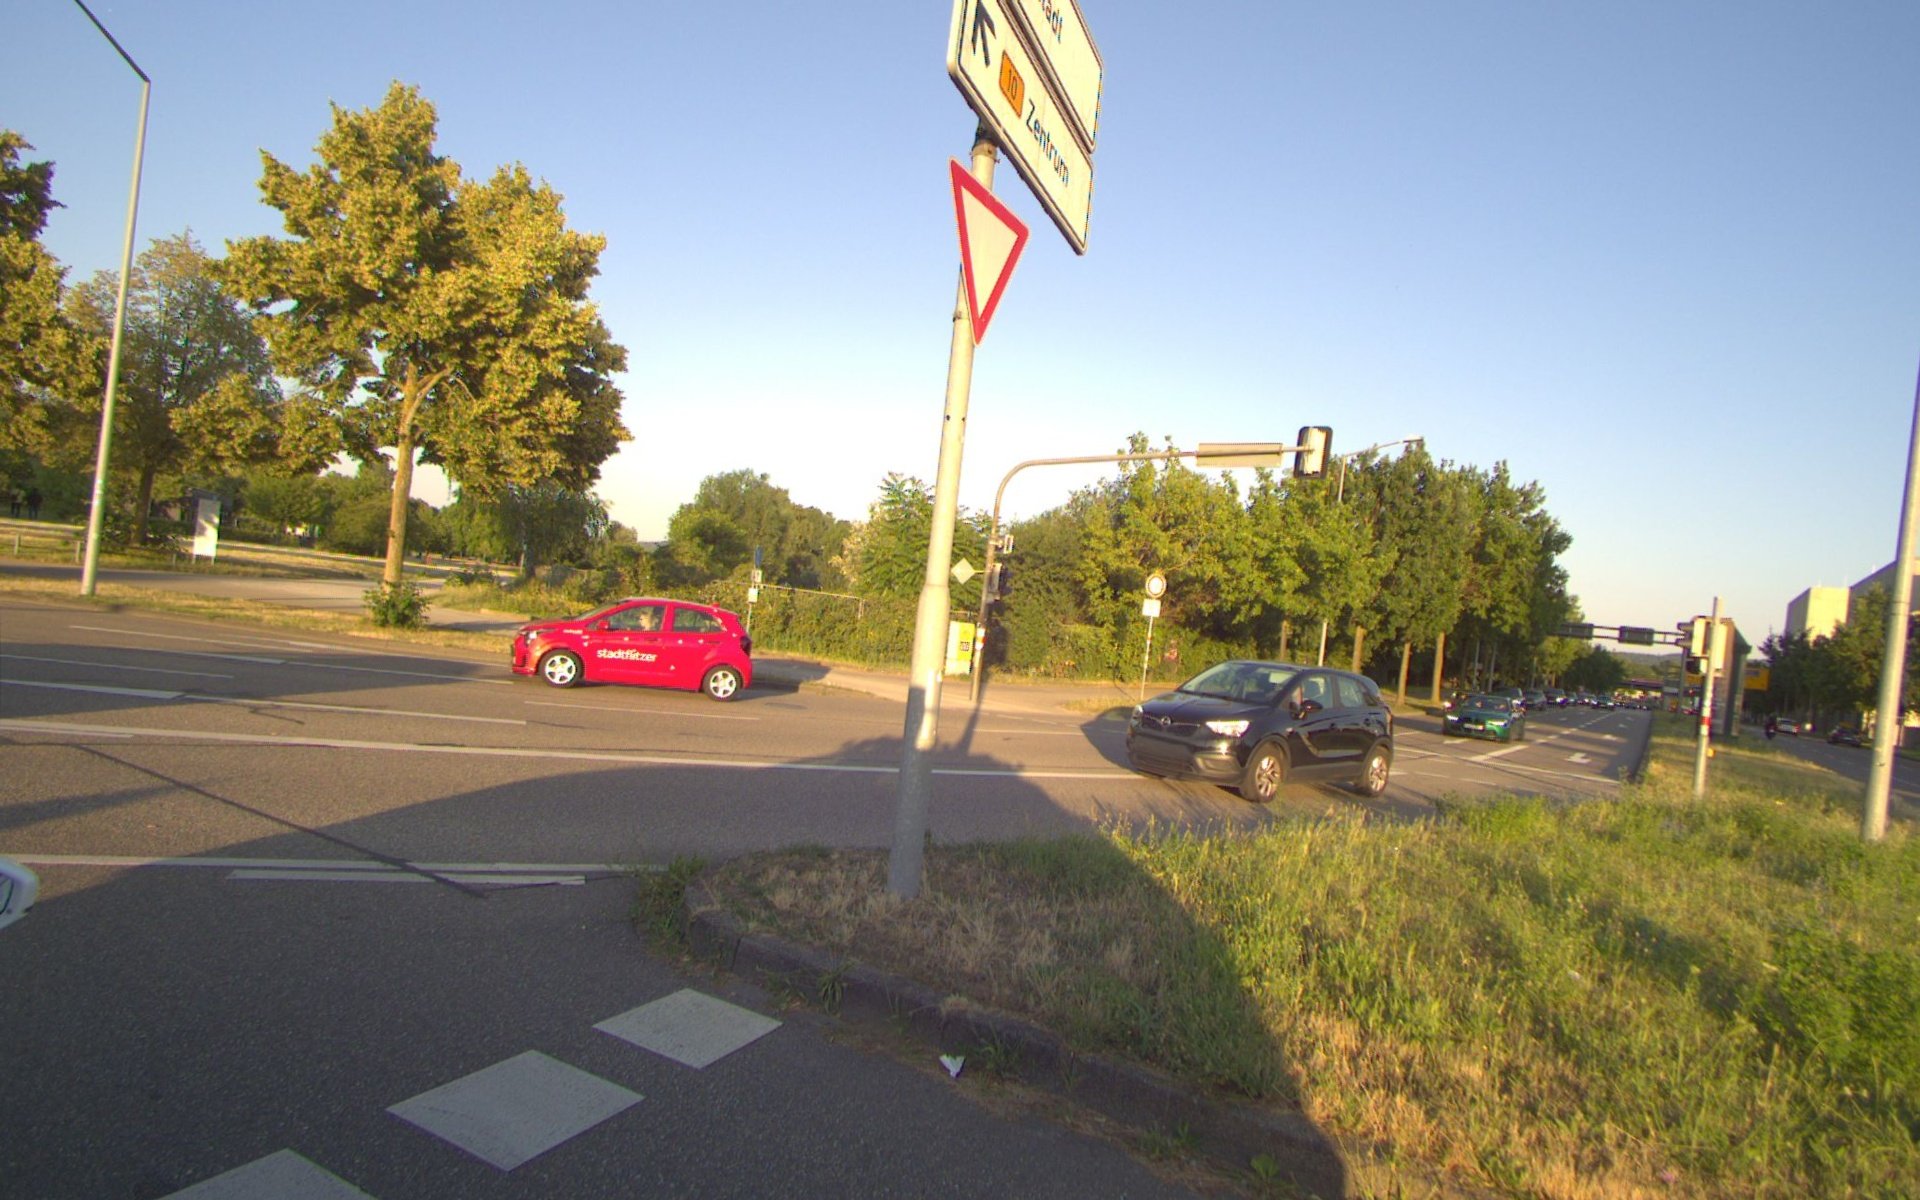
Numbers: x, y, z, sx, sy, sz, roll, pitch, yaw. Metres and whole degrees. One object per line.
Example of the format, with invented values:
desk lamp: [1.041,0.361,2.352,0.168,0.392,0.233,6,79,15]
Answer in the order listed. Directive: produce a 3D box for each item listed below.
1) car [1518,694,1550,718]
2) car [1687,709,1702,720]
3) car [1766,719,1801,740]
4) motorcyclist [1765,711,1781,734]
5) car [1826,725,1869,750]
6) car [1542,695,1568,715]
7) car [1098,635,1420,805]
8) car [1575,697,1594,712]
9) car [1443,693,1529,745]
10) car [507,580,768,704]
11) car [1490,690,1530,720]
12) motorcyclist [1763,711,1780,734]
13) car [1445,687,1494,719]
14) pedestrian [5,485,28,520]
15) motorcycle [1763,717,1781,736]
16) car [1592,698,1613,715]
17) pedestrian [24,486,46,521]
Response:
car: [42.261,7.772,73.989,1.594,1.536,3.706,5,-2,35]
car: [131.595,20.456,180.169,1.789,1.543,4.124,7,0,34]
car: [71.322,11.209,87.151,1.774,1.440,4.437,7,0,34]
motorcyclist: [53.576,8.060,66.267,0.626,1.425,0.593,7,0,33]
car: [68.073,10.515,77.192,1.774,1.482,3.989,7,0,34]
car: [52.466,9.245,88.631,1.594,1.536,3.706,5,-2,35]
car: [3.780,1.493,12.350,4.106,1.631,1.703,8,-2,-40]
car: [72.779,12.206,117.237,1.594,1.471,3.706,5,-2,35]
car: [16.816,3.766,32.080,1.847,1.324,4.128,5,-2,35]
car: [-5.056,0.659,15.767,3.588,1.500,1.717,7,-2,-26]
car: [32.935,6.292,60.195,1.594,1.536,3.706,5,-2,35]
motorcyclist: [53.911,8.122,66.824,0.677,1.433,0.713,7,0,33]
car: [25.295,5.107,49.900,1.594,1.324,3.706,5,-2,35]
pedestrian: [-47.605,-4.914,50.767,0.525,1.646,0.578,7,0,-20]
motorcycle: [53.682,8.371,66.499,0.549,1.114,2.156,7,-1,32]
car: [64.801,10.713,101.453,1.594,1.471,3.706,5,-2,35]
pedestrian: [-47.064,-4.909,51.177,0.523,1.646,0.617,7,0,-23]
